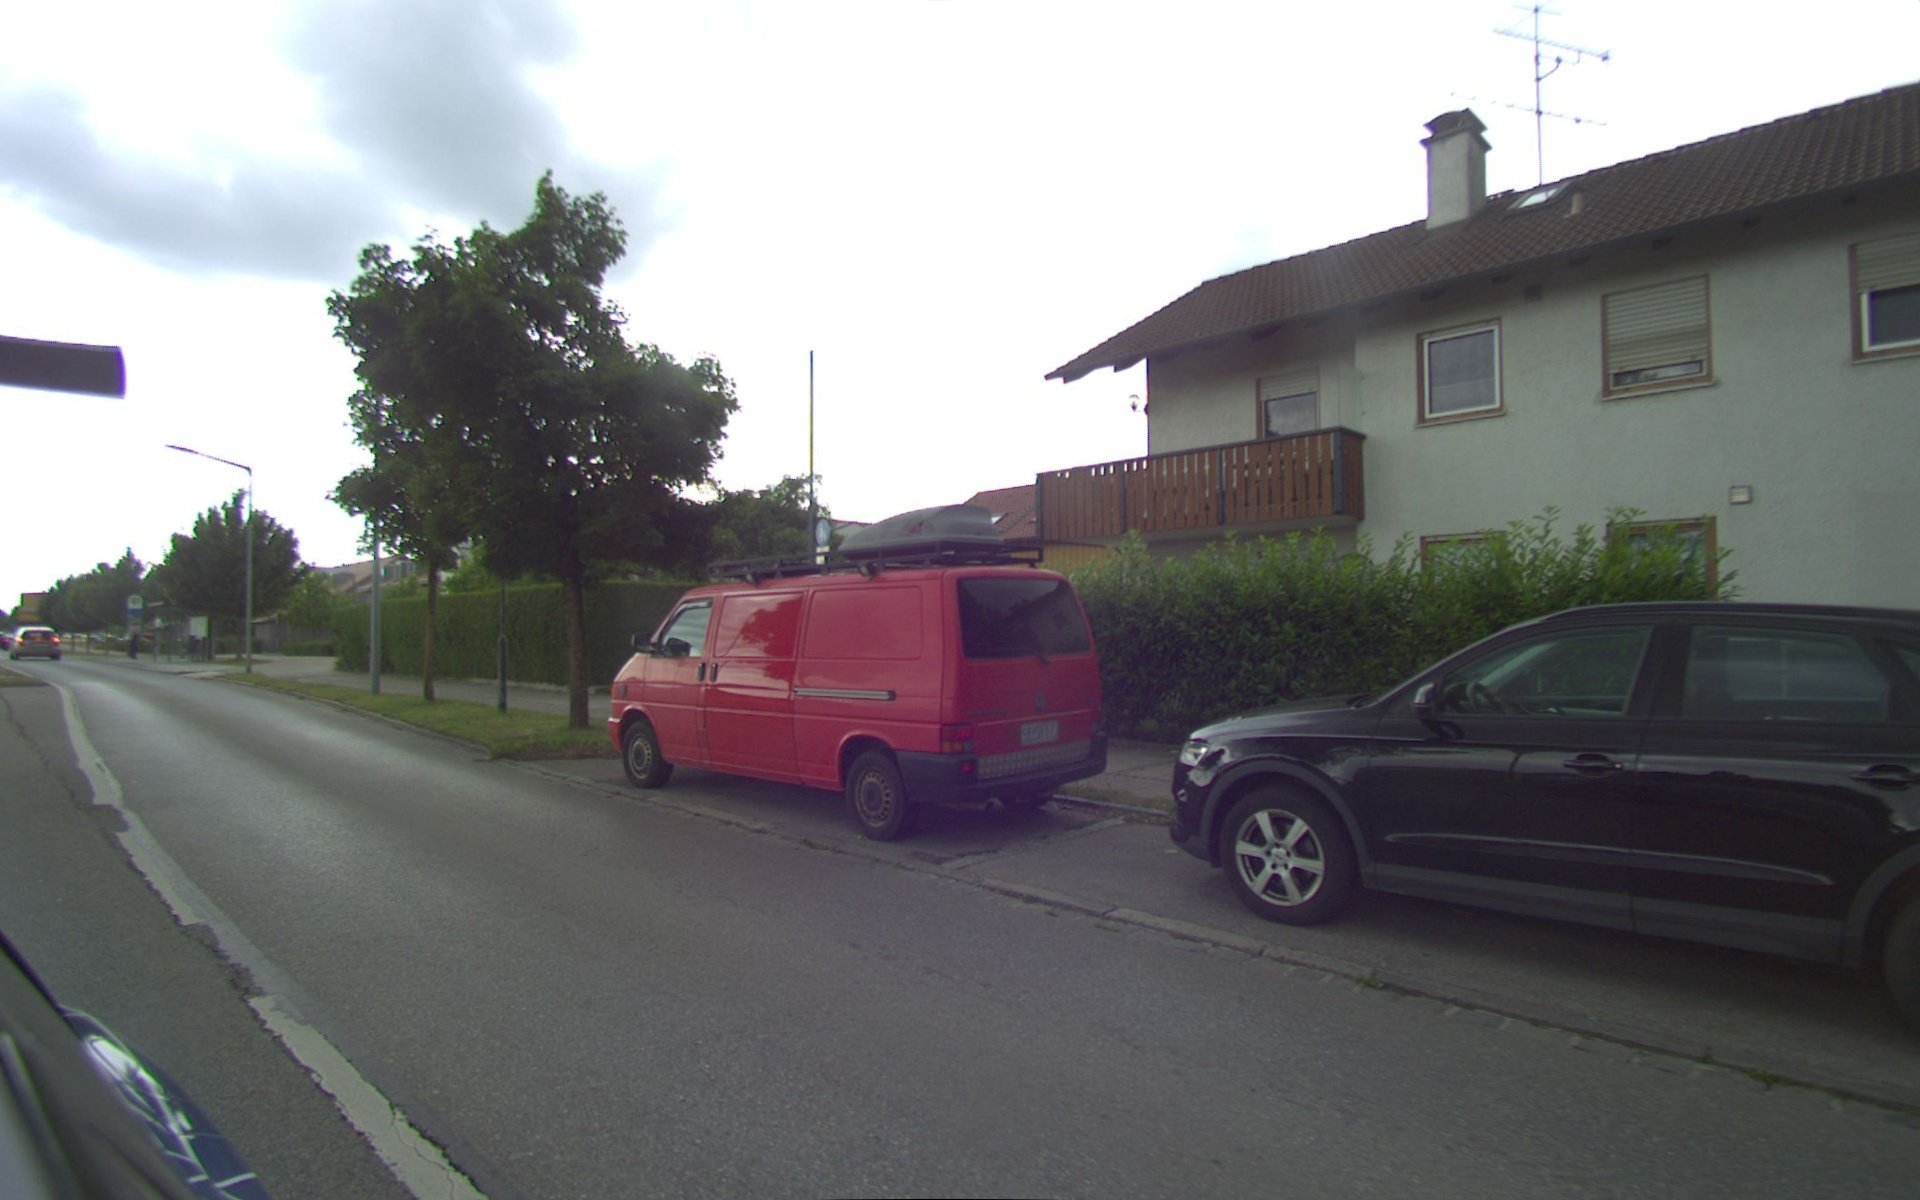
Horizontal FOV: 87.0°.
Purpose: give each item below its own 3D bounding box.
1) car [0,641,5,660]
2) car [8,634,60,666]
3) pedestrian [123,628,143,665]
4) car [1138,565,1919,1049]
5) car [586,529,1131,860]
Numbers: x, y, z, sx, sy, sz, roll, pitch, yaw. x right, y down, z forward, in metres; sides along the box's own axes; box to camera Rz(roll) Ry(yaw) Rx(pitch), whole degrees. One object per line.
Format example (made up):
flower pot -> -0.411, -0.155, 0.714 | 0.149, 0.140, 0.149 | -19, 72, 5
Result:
car -> -77.811, 4.041, 80.905 | 4.497, 1.465, 1.899 | -2, -3, 44
car -> -45.625, 2.459, 49.835 | 1.687, 1.544, 3.509 | 4, -4, -45
pedestrian -> -37.737, 2.103, 46.178 | 0.813, 1.649, 0.582 | -2, -3, 42
car -> 3.112, 0.719, 4.656 | 4.238, 1.610, 1.752 | -3, -2, 43
car -> -1.172, 0.670, 8.684 | 5.046, 2.046, 1.809 | -2, -3, 44
